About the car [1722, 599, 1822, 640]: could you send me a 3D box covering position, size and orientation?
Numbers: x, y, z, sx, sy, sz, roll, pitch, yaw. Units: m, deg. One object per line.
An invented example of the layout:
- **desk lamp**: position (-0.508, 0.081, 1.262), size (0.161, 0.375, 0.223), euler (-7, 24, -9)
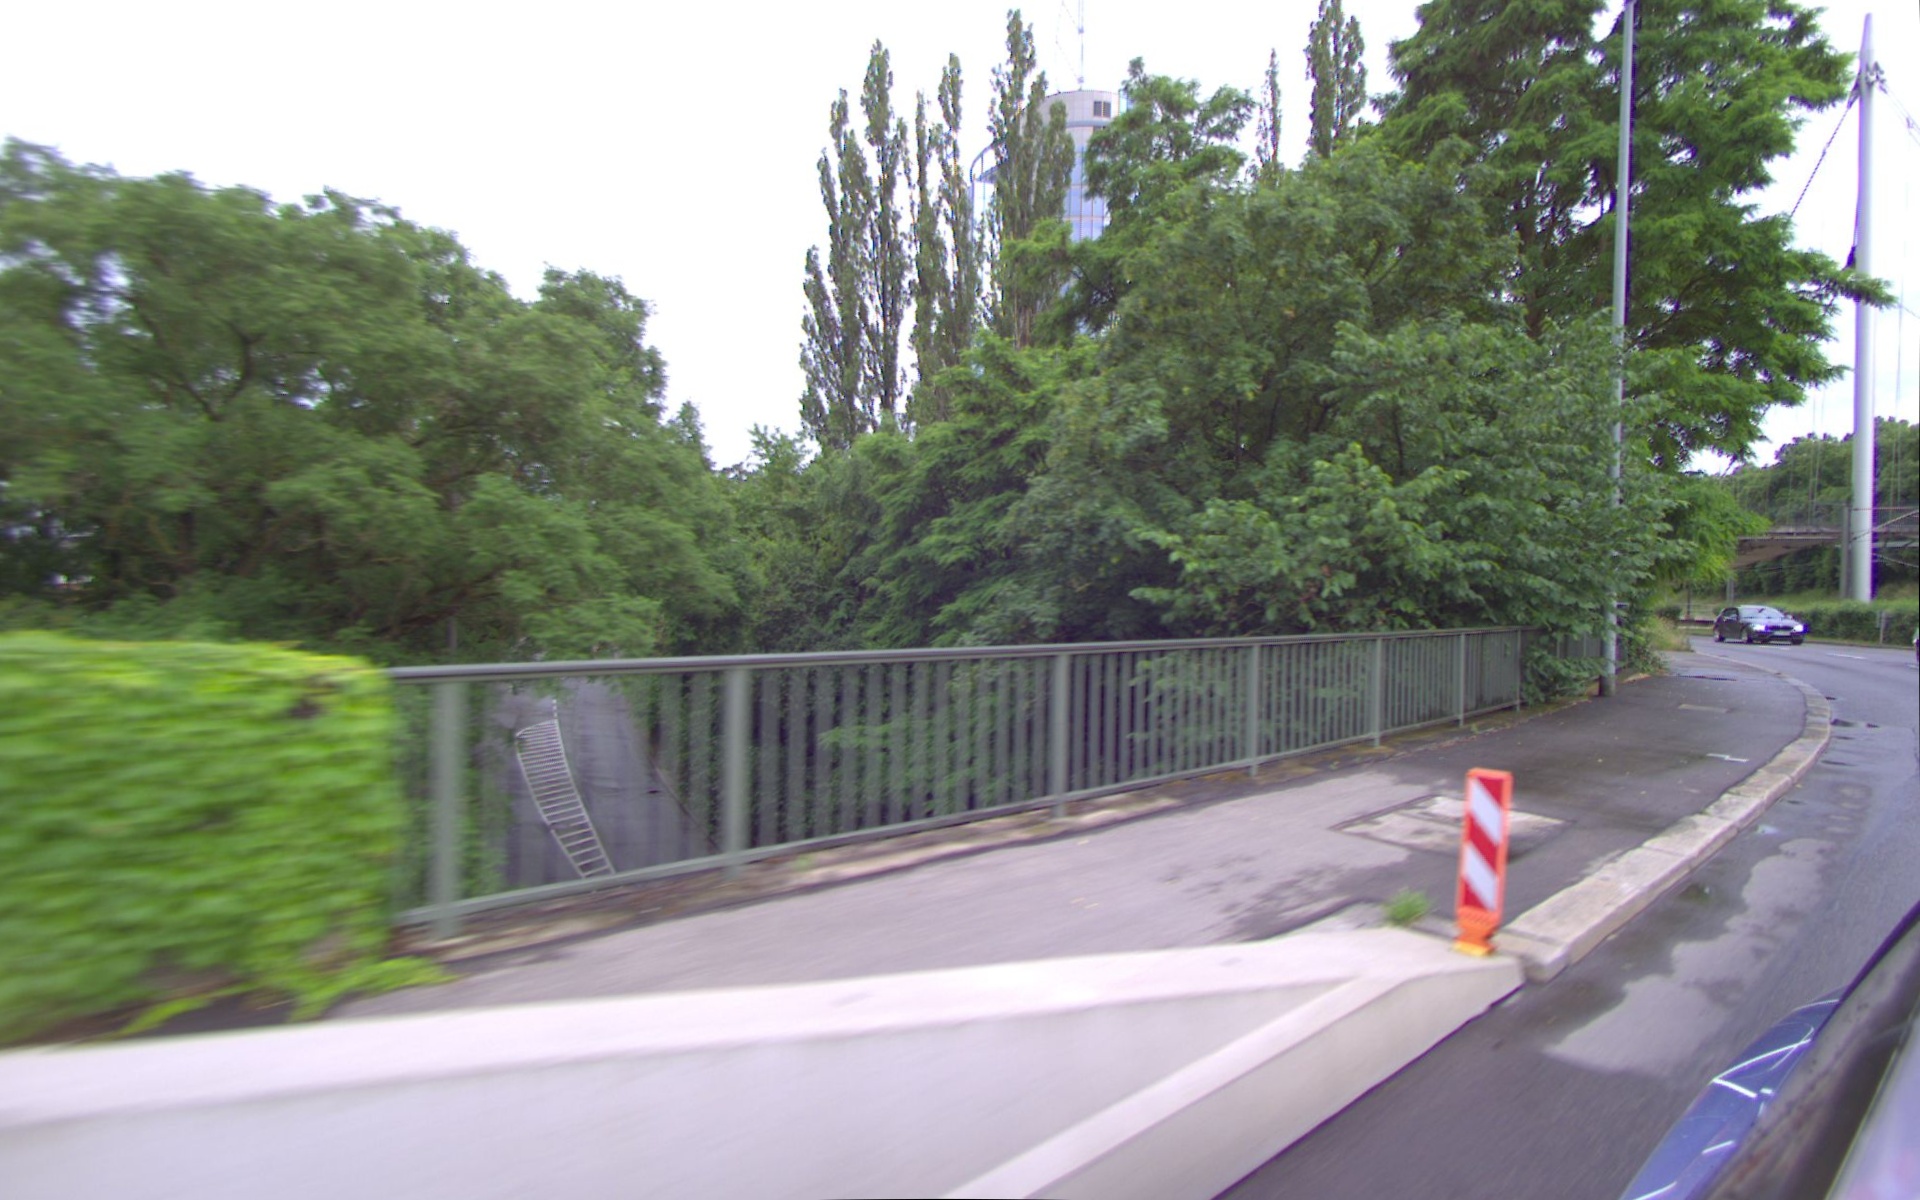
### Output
- **car**: position (30.540, 0.691, 38.200), size (1.715, 1.369, 3.974), euler (1, 1, 20)
